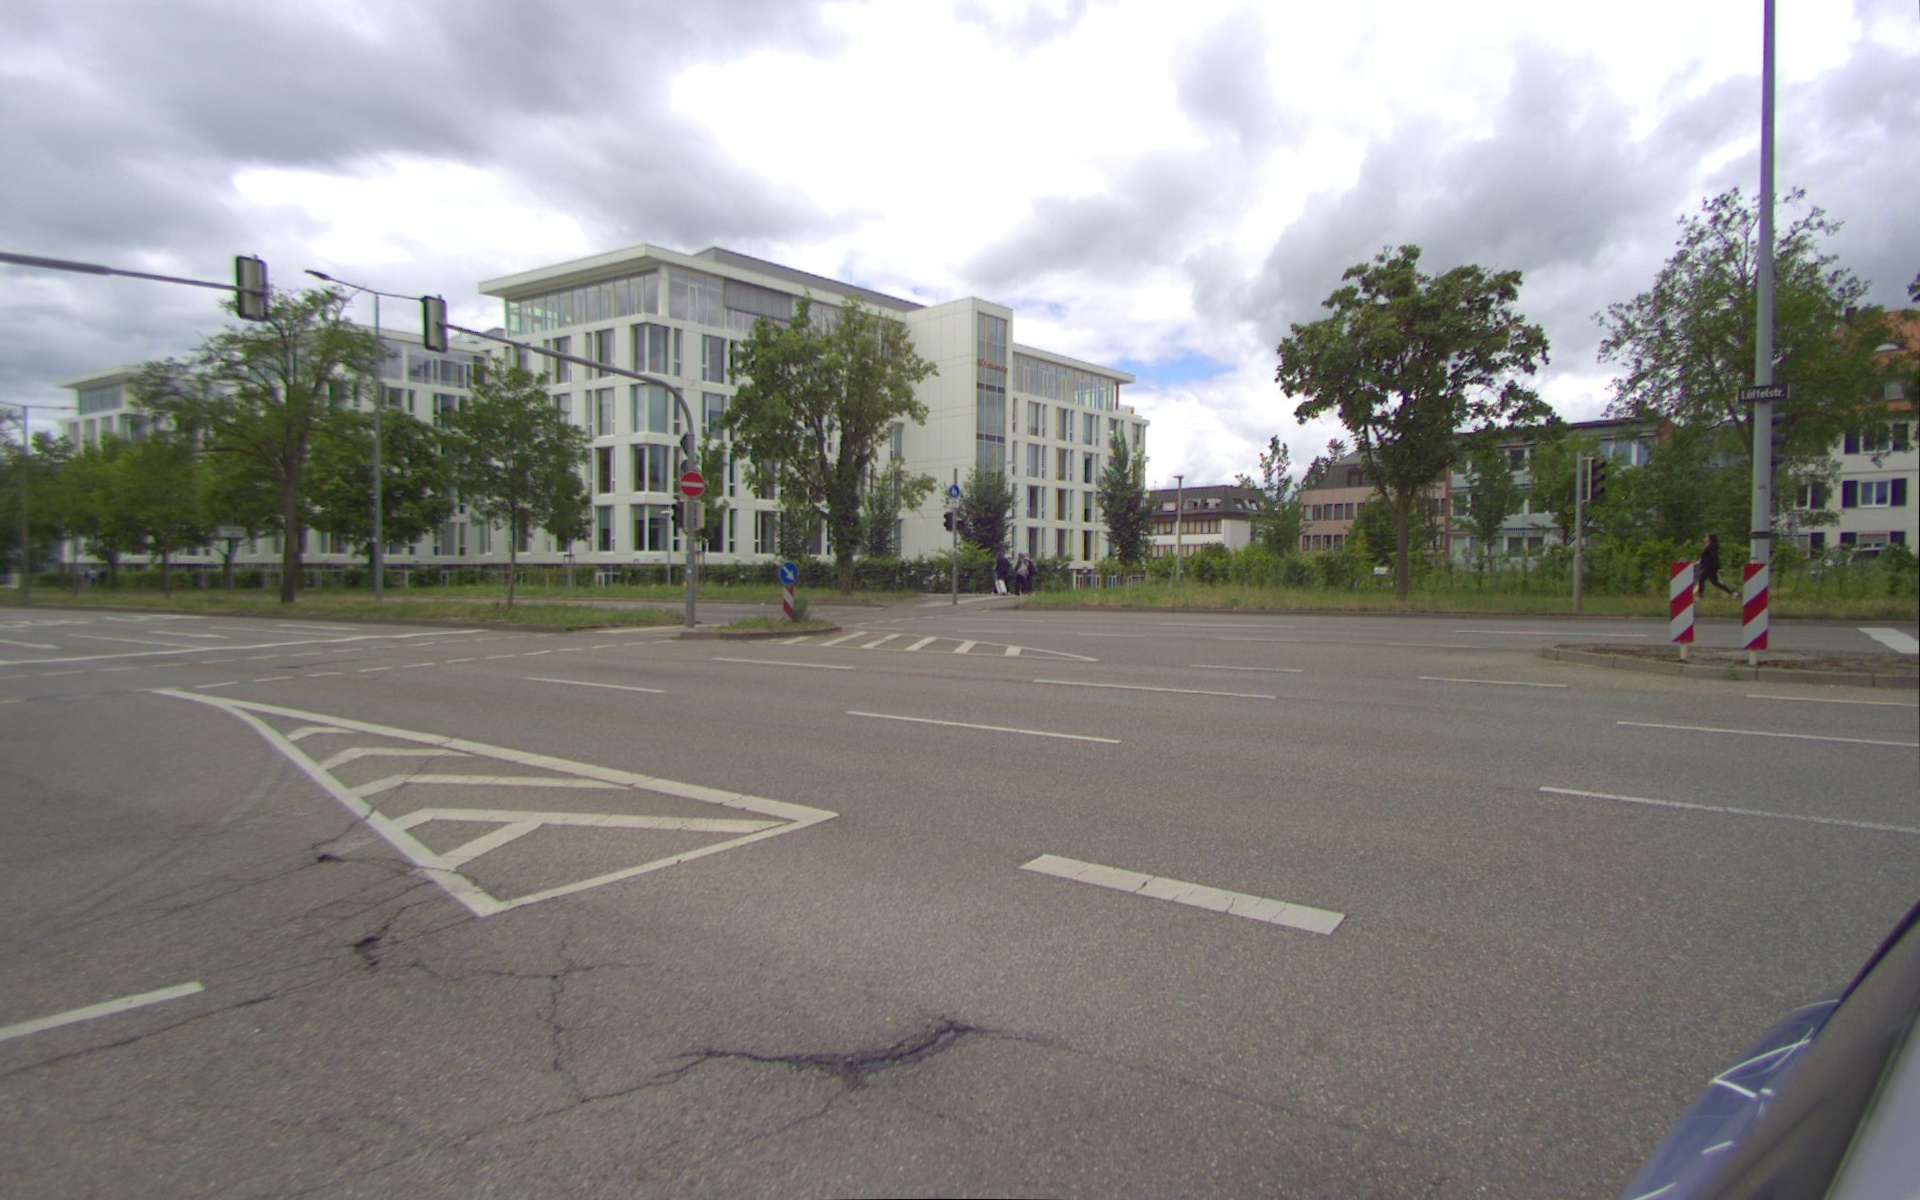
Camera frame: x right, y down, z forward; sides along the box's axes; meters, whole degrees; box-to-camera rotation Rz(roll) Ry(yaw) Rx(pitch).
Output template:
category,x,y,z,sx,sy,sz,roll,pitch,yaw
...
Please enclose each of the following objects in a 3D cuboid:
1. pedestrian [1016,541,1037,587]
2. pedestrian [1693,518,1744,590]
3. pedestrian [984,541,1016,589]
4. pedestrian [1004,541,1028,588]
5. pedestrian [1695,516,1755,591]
category,x,y,z,sx,sy,sz,roll,pitch,yaw
pedestrian,2.439,-1.301,37.170,0.675,1.647,0.661,-1,-1,0
pedestrian,18.482,-1.101,24.670,0.823,1.717,0.611,-1,-1,25
pedestrian,1.424,-1.244,36.172,0.718,1.647,1.036,-1,-1,-25
pedestrian,2.021,-1.271,36.460,0.554,1.647,0.709,-1,-1,-26
pedestrian,18.186,-1.082,24.074,0.992,1.717,0.603,-1,-1,25
